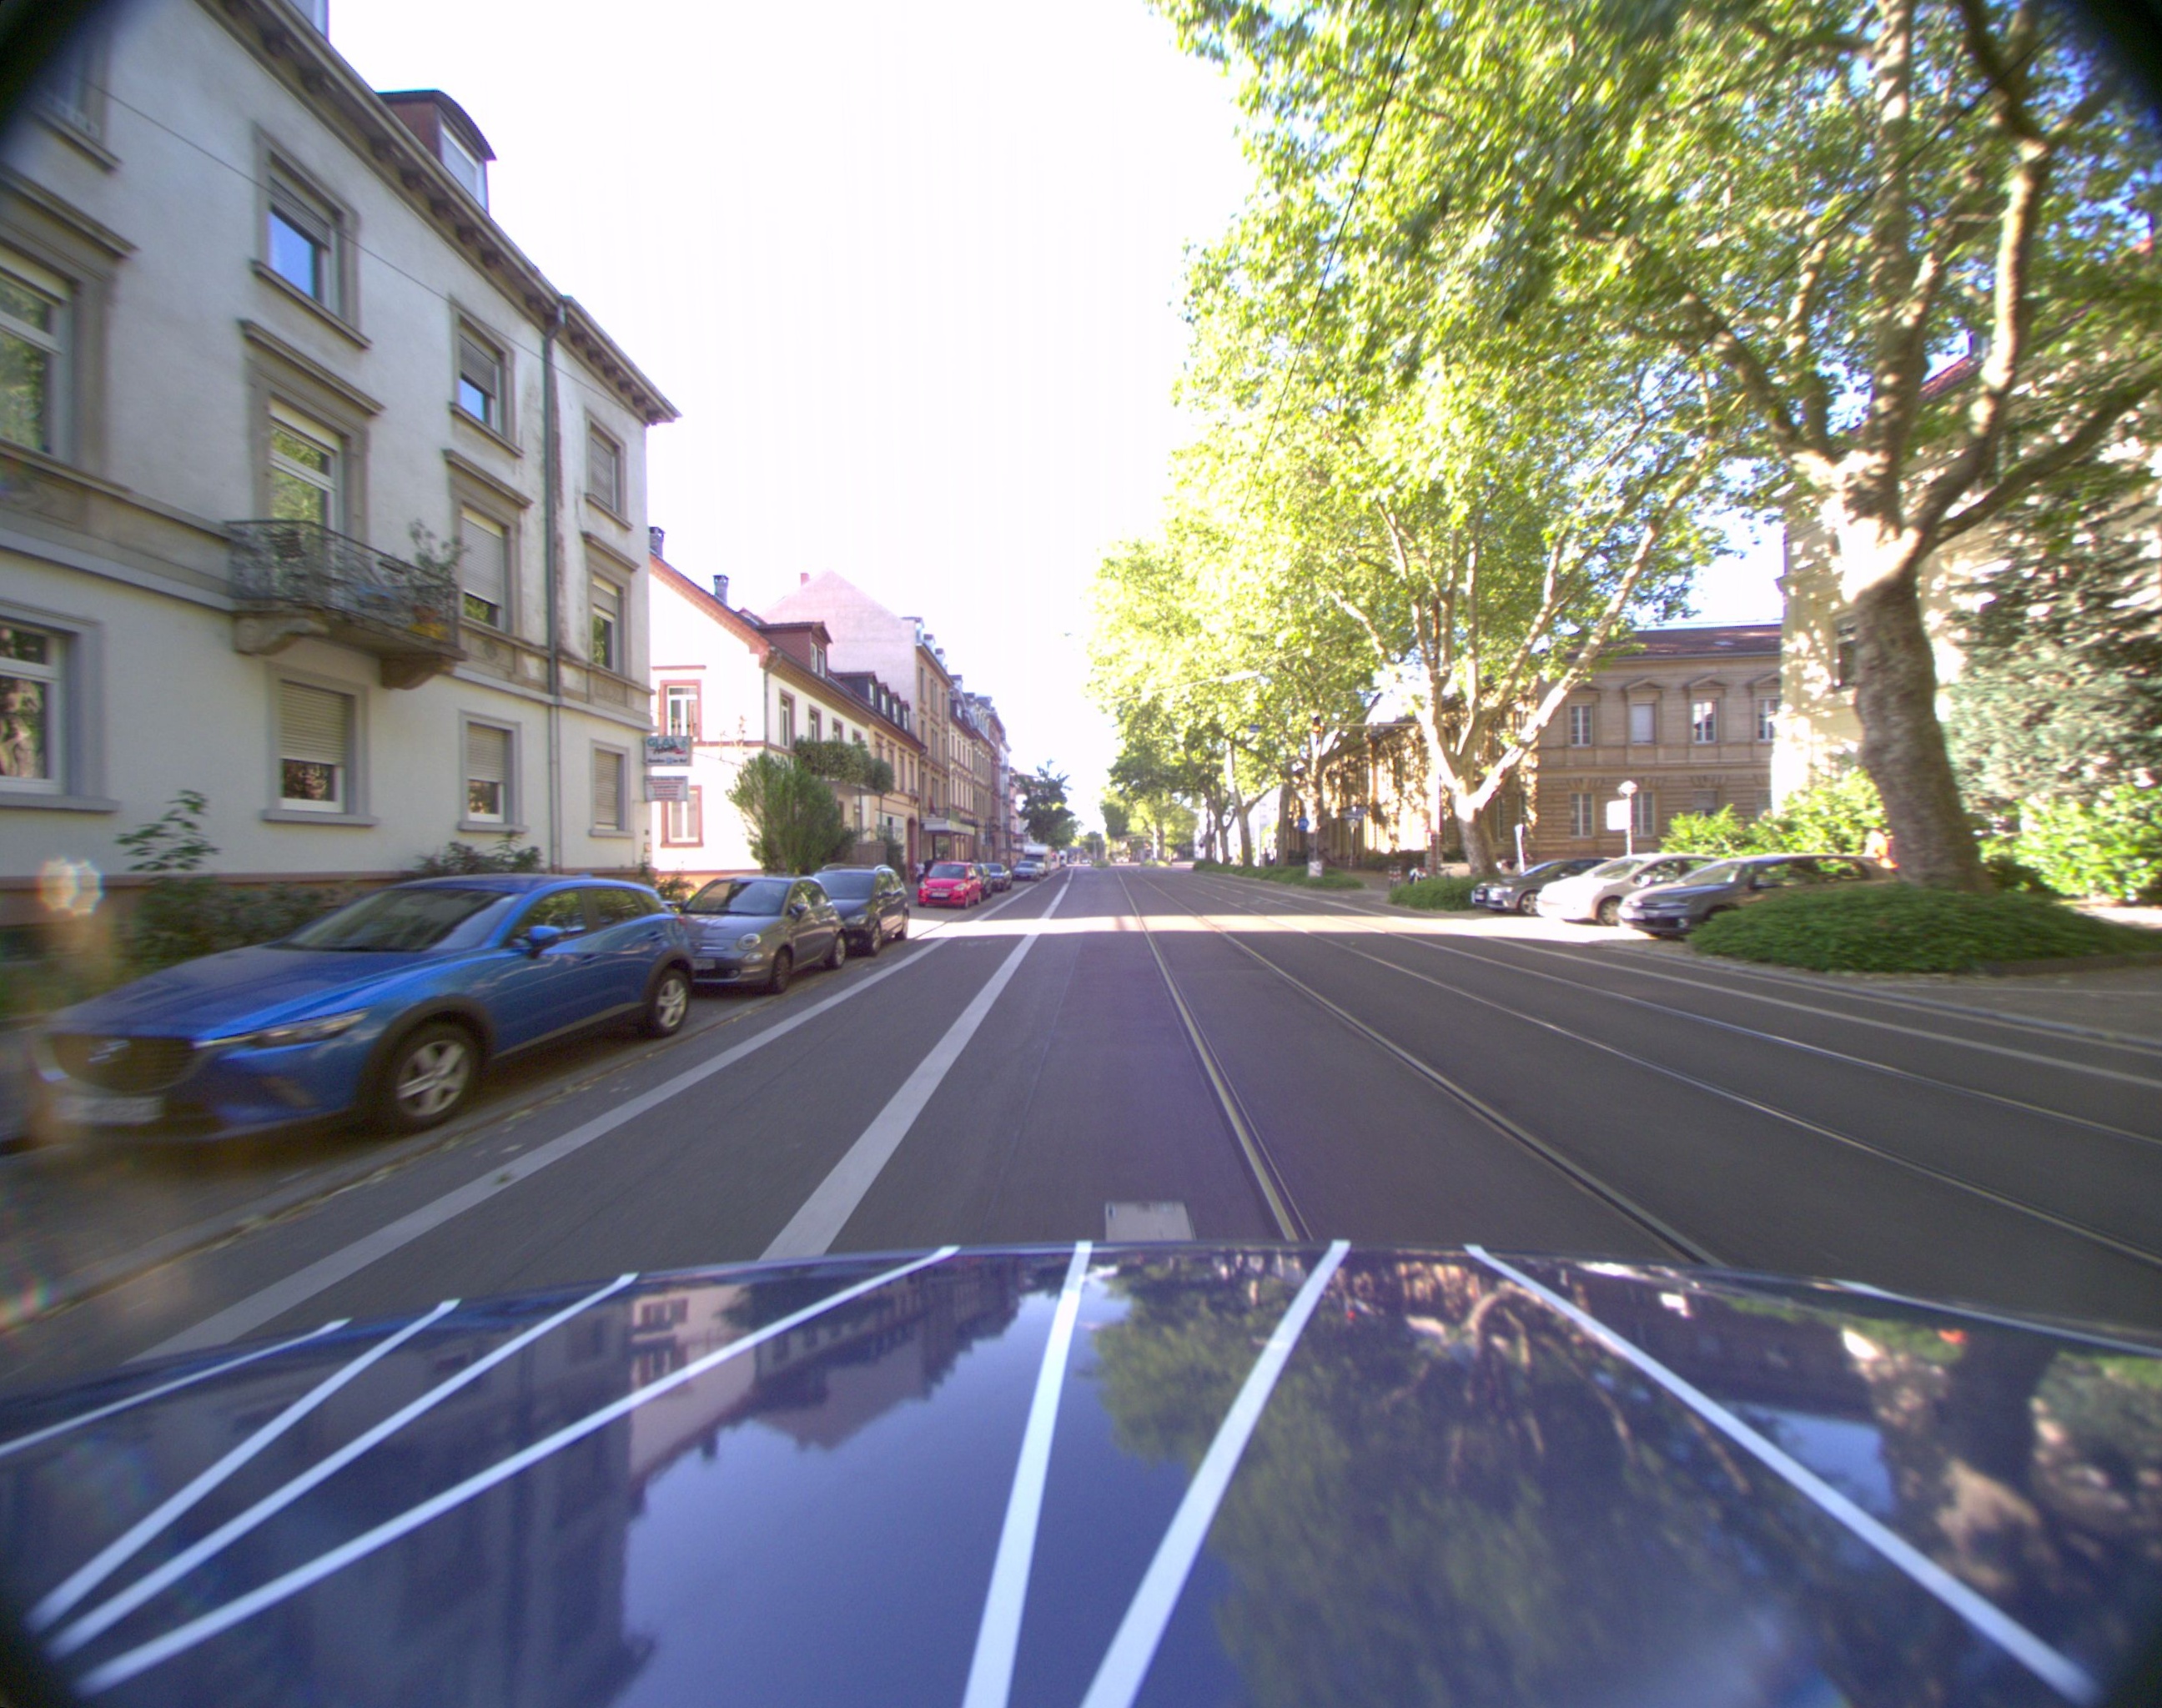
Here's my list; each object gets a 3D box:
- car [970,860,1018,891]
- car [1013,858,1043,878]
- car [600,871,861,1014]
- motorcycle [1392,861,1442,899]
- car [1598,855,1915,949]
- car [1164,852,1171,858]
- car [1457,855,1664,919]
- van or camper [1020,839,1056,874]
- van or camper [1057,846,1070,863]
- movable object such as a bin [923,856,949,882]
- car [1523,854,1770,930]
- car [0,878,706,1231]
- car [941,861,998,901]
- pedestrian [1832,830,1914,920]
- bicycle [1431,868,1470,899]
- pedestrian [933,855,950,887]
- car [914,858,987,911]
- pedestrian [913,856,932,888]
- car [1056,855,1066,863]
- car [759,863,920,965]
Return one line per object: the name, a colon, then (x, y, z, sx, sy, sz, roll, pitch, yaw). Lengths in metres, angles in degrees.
car: (-4.294, 1.028, 37.936, 1.698, 1.384, 4.495, 0, 0, 2)
car: (-3.913, 1.024, 56.873, 1.814, 1.426, 4.664, 0, 0, 1)
car: (-4.526, 1.054, 10.507, 1.803, 1.448, 3.768, 2, 0, 0)
motorcycle: (10.897, 0.817, 24.761, 0.886, 1.140, 2.392, -1, 0, 9)
car: (11.699, 0.792, 13.375, 3.929, 1.454, 1.805, -1, 1, 1)
car: (23.408, 0.205, 206.457, 1.870, 1.620, 4.562, -1, -1, 6)
car: (11.789, 0.780, 18.891, 3.929, 1.324, 1.847, -3, 1, 2)
van or camper: (-3.948, 0.201, 71.458, 2.483, 2.955, 7.884, 2, 0, 2)
van or camper: (-3.327, 0.115, 145.496, 2.172, 3.074, 7.290, 0, 0, 1)
movable object such as a bin: (-8.892, 0.916, 46.647, 1.296, 1.511, 1.286, -2, 1, 1)
car: (11.976, 0.762, 16.287, 3.931, 1.444, 1.800, -1, 1, 1)
car: (-4.798, 1.014, 5.623, 1.884, 1.448, 4.026, 2, 0, 2)
car: (-4.414, 1.045, 30.644, 1.655, 1.448, 3.868, 0, 0, 1)
pedestrian: (16.661, 0.429, 15.999, 0.867, 1.838, 0.837, -2, 1, -6)
bicycle: (12.001, 0.941, 24.727, 0.542, 0.935, 2.035, -1, 0, 9)
pedestrian: (-6.575, 0.783, 35.883, 0.662, 1.496, 0.866, 0, 1, 0)
car: (-4.403, 1.001, 26.120, 1.638, 1.537, 3.576, 4, 1, 2)
pedestrian: (-7.470, 0.858, 35.850, 0.659, 1.474, 0.785, -2, 1, 0)
car: (-3.530, 0.925, 135.285, 1.656, 1.439, 3.800, 0, 0, -1)
car: (-4.477, 1.039, 14.729, 1.885, 1.577, 3.932, 2, 0, -1)
